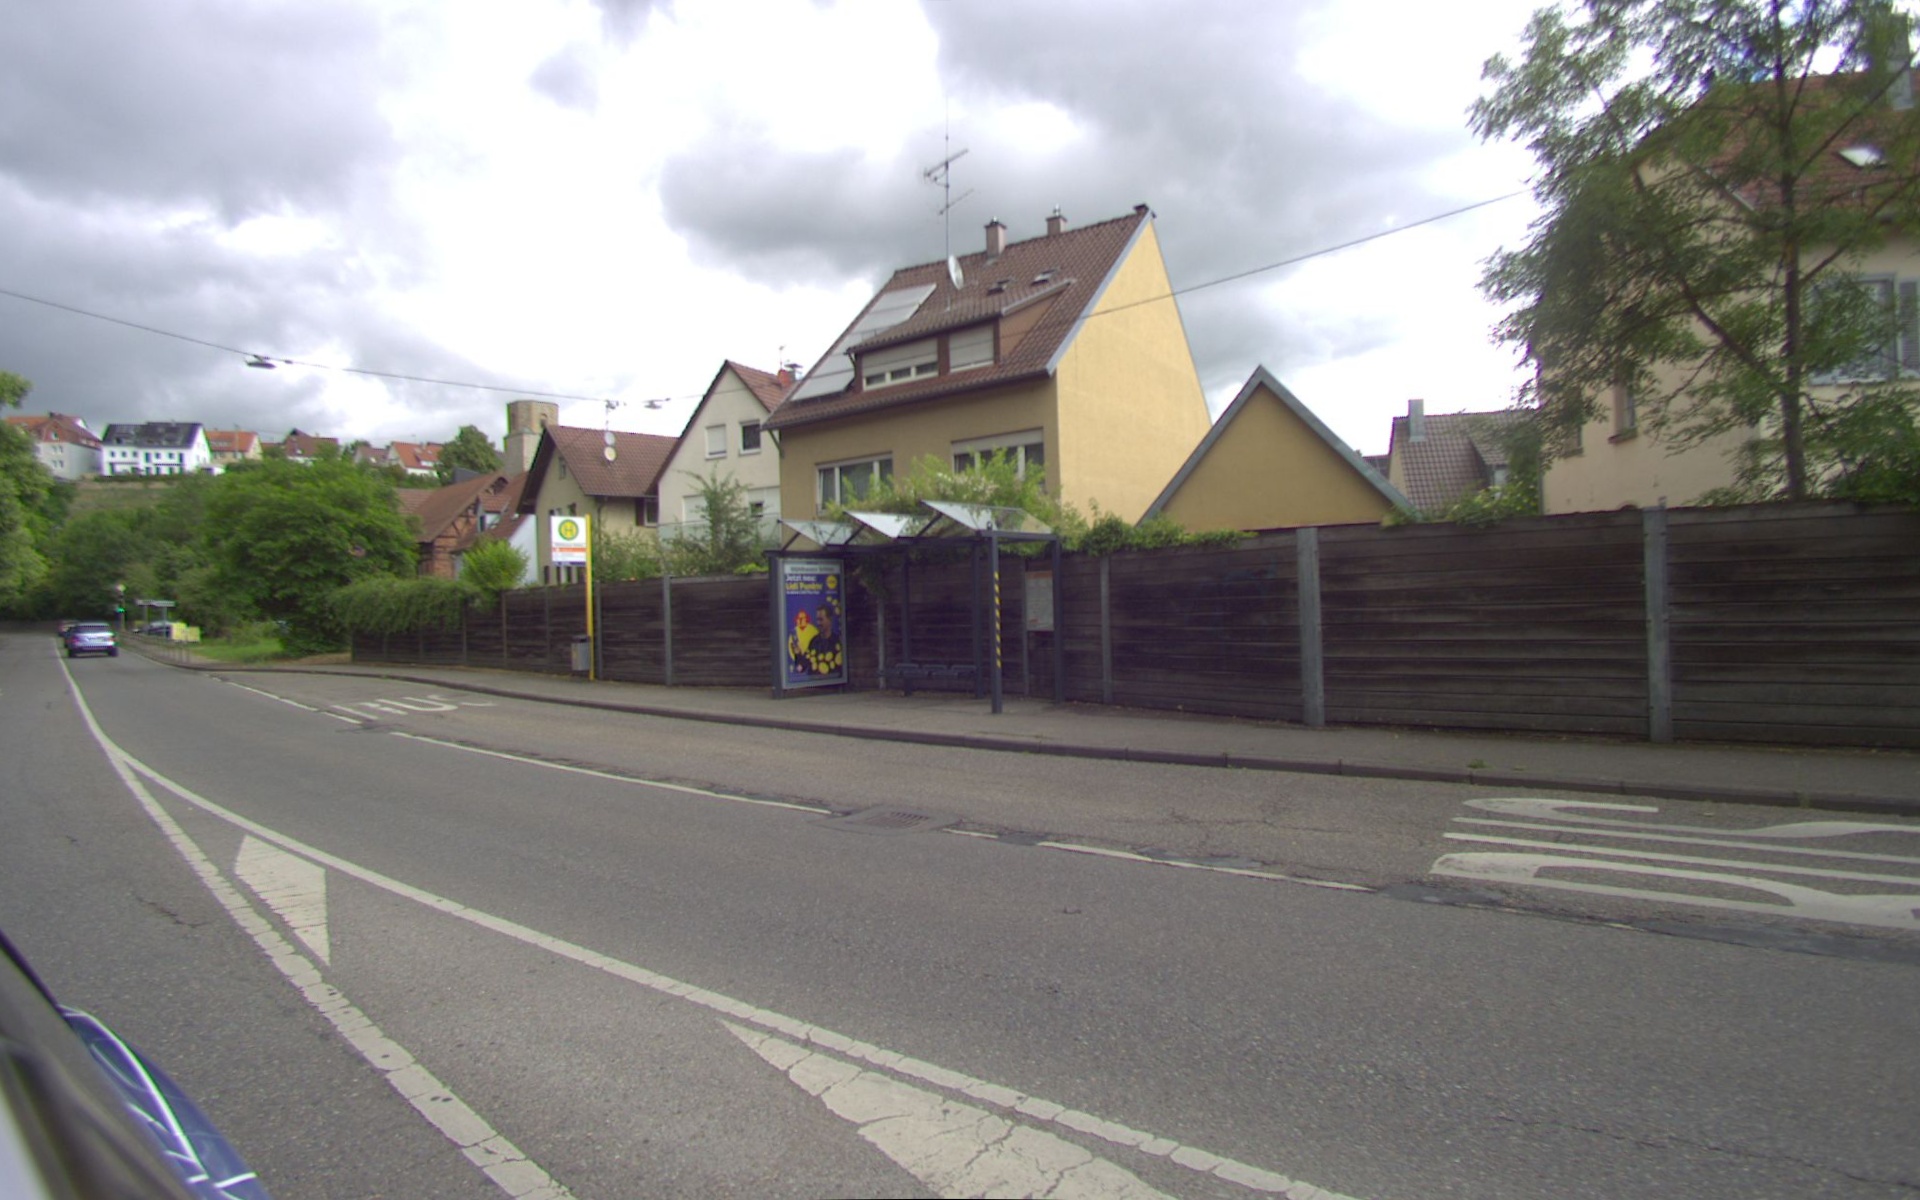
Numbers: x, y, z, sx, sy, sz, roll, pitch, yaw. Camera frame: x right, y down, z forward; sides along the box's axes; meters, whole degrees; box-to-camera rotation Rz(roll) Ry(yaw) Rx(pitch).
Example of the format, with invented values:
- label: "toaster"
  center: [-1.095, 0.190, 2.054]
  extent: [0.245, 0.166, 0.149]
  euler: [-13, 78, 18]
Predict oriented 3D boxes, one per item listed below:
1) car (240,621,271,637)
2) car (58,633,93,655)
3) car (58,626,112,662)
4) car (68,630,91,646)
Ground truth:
- label: "car"
  center: [-60.199, 2.472, 86.416]
  extent: [1.625, 1.355, 4.156]
  euler: [1, -2, -43]
- label: "car"
  center: [-62.265, 3.098, 71.190]
  extent: [1.696, 1.480, 4.102]
  euler: [0, -2, -44]
- label: "car"
  center: [-45.213, 2.247, 52.271]
  extent: [1.912, 1.737, 4.696]
  euler: [0, -2, -43]
- label: "car"
  center: [-87.838, 3.744, 100.943]
  extent: [1.684, 1.523, 4.005]
  euler: [1, -2, -42]
